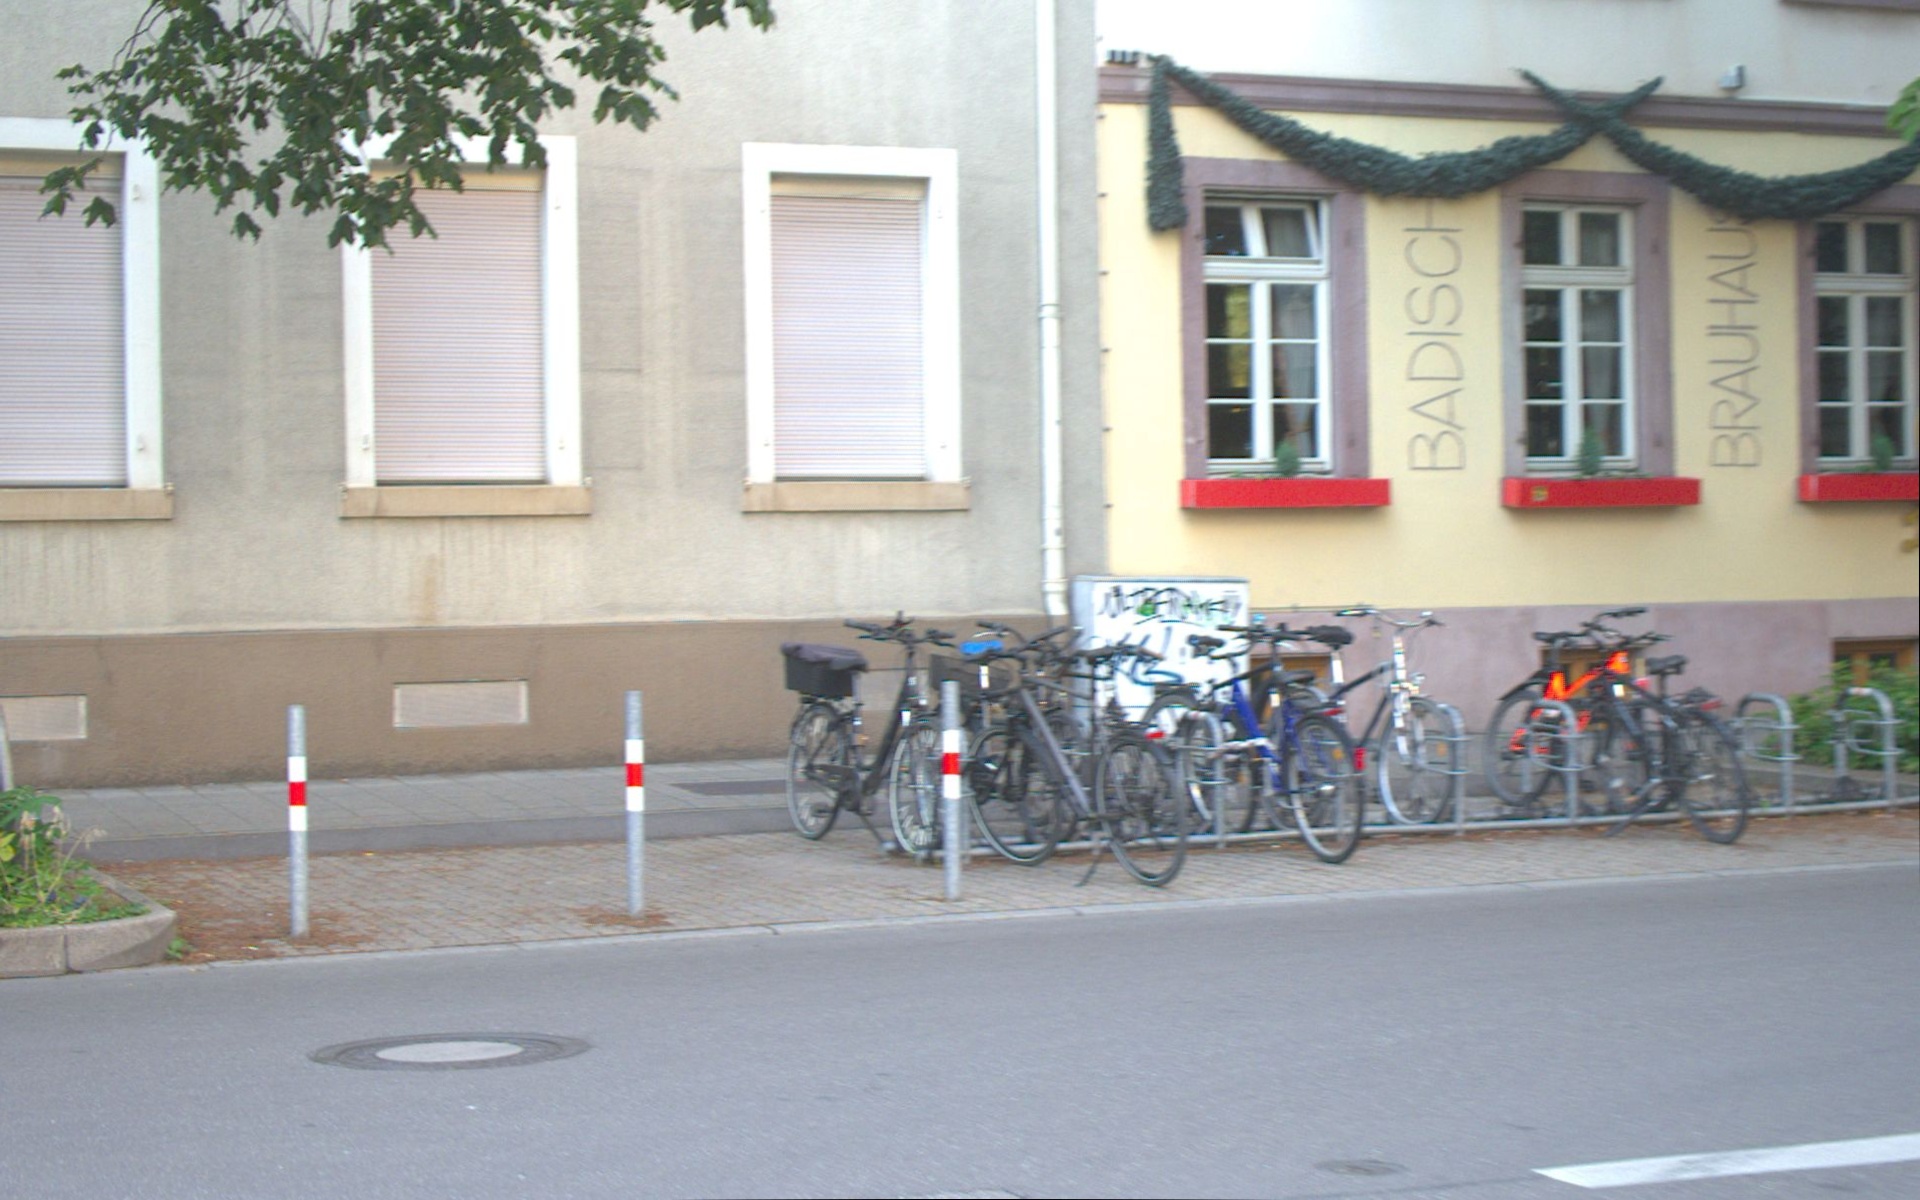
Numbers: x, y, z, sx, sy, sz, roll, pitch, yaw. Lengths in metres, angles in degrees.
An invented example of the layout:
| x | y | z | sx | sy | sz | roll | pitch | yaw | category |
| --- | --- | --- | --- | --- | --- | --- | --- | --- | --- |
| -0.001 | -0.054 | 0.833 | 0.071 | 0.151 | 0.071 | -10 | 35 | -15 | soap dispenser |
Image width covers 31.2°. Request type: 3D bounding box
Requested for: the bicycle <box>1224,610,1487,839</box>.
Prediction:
| x | y | z | sx | sy | sz | roll | pitch | yaw | category |
| --- | --- | --- | --- | --- | --- | --- | --- | --- | --- |
| 2.110 | 0.641 | 18.615 | 0.420 | 1.141 | 2.043 | -1 | 1 | -24 | bicycle |

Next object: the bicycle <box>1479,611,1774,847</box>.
| x | y | z | sx | sy | sz | roll | pitch | yaw | category |
| --- | --- | --- | --- | --- | --- | --- | --- | --- | --- |
| 3.473 | 0.645 | 18.102 | 0.420 | 1.141 | 2.043 | -1 | 1 | -24 | bicycle |

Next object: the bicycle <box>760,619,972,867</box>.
| x | y | z | sx | sy | sz | roll | pitch | yaw | category |
| --- | --- | --- | --- | --- | --- | --- | --- | --- | --- |
| -0.506 | 0.691 | 17.463 | 0.445 | 1.141 | 2.043 | -1 | 1 | -20 | bicycle |

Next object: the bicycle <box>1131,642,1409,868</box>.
| x | y | z | sx | sy | sz | roll | pitch | yaw | category |
| --- | --- | --- | --- | --- | --- | --- | --- | --- | --- |
| 1.498 | 0.732 | 16.992 | 0.420 | 1.000 | 2.043 | -1 | 1 | -24 | bicycle |

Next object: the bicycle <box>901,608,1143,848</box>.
| x | y | z | sx | sy | sz | roll | pitch | yaw | category |
| --- | --- | --- | --- | --- | --- | --- | --- | --- | --- |
| 0.293 | 0.630 | 17.876 | 0.420 | 1.141 | 2.043 | -1 | 1 | -24 | bicycle |

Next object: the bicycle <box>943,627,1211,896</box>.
| x | y | z | sx | sy | sz | roll | pitch | yaw | category |
| --- | --- | --- | --- | --- | --- | --- | --- | --- | --- |
| 0.516 | 0.719 | 16.156 | 0.445 | 1.141 | 2.043 | -1 | 1 | -22 | bicycle |

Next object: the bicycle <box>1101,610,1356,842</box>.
| x | y | z | sx | sy | sz | roll | pitch | yaw | category |
| --- | --- | --- | --- | --- | --- | --- | --- | --- | --- |
| 1.406 | 0.641 | 18.405 | 0.420 | 1.141 | 2.043 | -1 | 1 | -24 | bicycle |
